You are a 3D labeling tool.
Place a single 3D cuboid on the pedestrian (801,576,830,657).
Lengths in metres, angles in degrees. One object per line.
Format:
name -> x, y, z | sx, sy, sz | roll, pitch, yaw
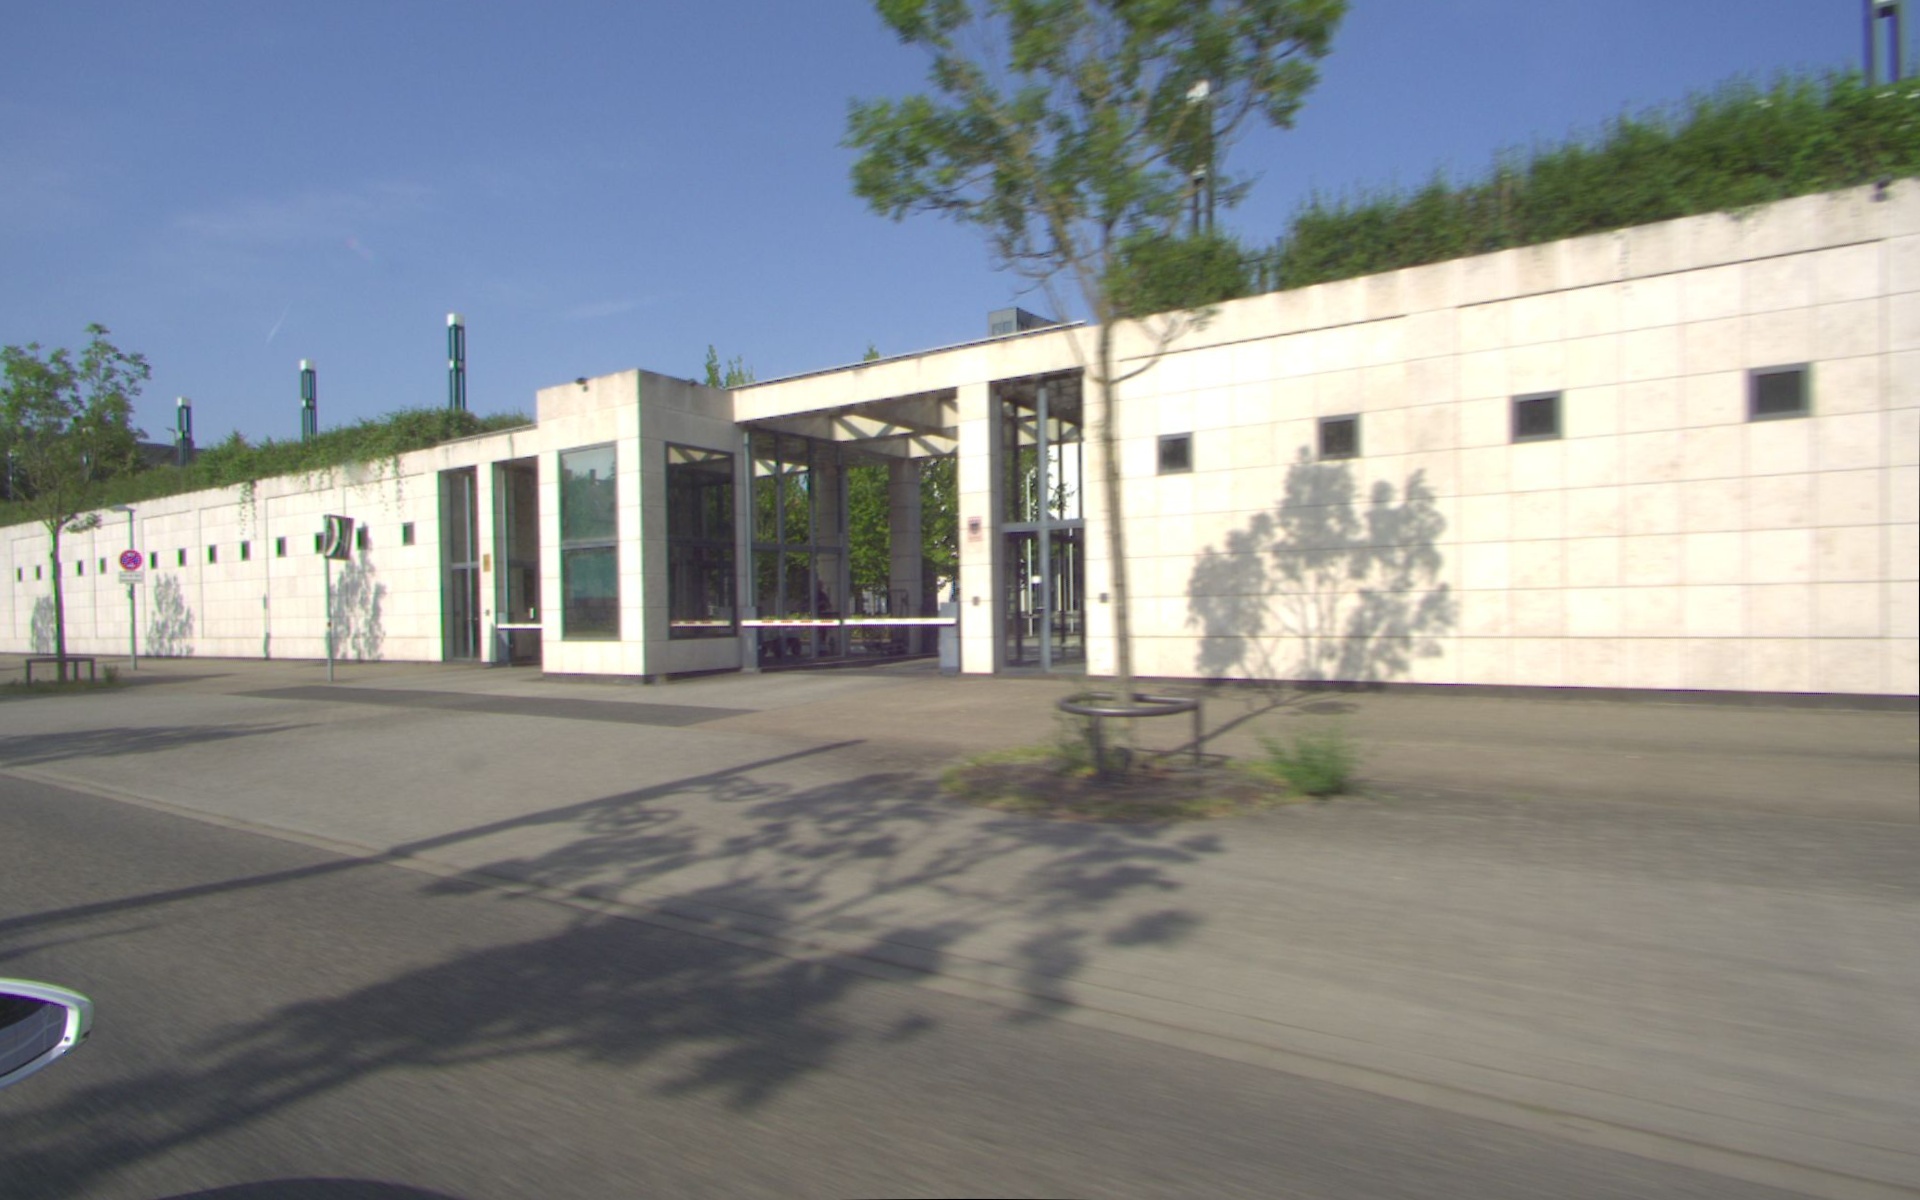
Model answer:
pedestrian -> -3.461, 0.403, 24.045 | 0.583, 1.896, 0.557 | -2, -1, -3
